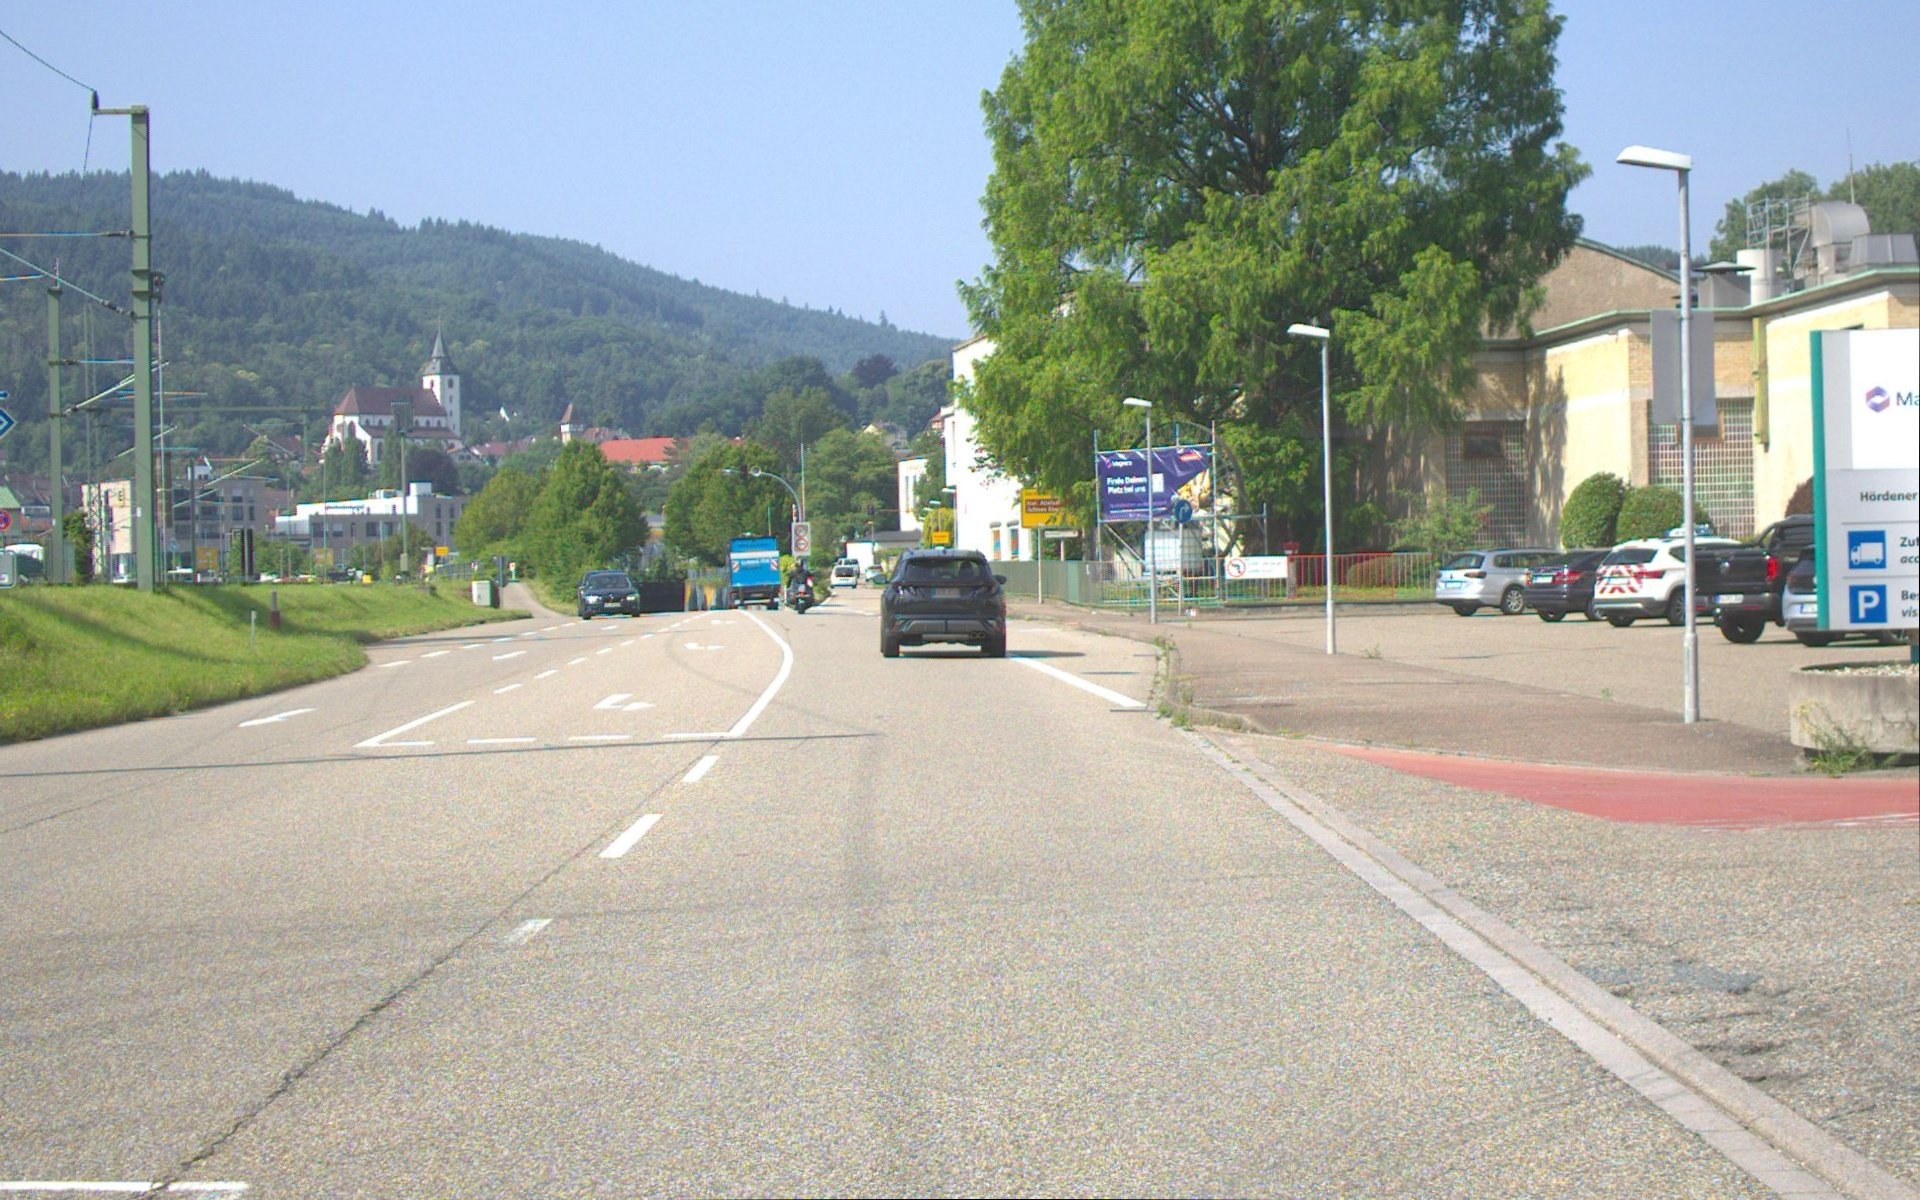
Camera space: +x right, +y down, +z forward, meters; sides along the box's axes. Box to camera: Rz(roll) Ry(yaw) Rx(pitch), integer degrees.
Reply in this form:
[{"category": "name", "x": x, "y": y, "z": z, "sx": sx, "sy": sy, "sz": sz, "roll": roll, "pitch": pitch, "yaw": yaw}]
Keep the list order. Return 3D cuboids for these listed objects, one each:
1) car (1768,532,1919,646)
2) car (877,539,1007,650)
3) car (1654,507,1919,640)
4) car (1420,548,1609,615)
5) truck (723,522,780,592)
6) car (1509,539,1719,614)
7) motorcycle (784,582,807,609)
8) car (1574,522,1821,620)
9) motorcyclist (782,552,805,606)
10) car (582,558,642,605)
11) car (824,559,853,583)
[{"category": "car", "x": 13.268, "y": -0.190, "z": 47.236, "sx": 3.987, "sy": 1.499, "sz": 1.886, "roll": -2, "pitch": 1, "yaw": -30}, {"category": "car", "x": -0.271, "y": -0.105, "z": 53.378, "sx": 1.919, "sy": 1.634, "sz": 4.000, "roll": -1, "pitch": 1, "yaw": 0}, {"category": "car", "x": 12.802, "y": -0.420, "z": 50.488, "sx": 5.020, "sy": 1.826, "sz": 1.983, "roll": -2, "pitch": 1, "yaw": -30}, {"category": "car", "x": 12.235, "y": -0.413, "z": 75.805, "sx": 3.987, "sy": 1.396, "sz": 1.664, "roll": -1, "pitch": 1, "yaw": -32}, {"category": "truck", "x": -9.048, "y": -1.868, "z": 148.974, "sx": 2.312, "sy": 2.960, "sz": 5.967, "roll": -1, "pitch": 1, "yaw": -4}, {"category": "car", "x": 12.883, "y": -0.475, "z": 67.626, "sx": 3.987, "sy": 1.396, "sz": 1.664, "roll": -1, "pitch": 1, "yaw": -32}, {"category": "motorcycle", "x": -4.673, "y": -0.125, "z": 97.626, "sx": 0.606, "sy": 0.751, "sz": 1.415, "roll": -1, "pitch": 1, "yaw": -2}, {"category": "car", "x": 13.277, "y": -0.533, "z": 61.822, "sx": 4.160, "sy": 1.666, "sz": 1.870, "roll": -1, "pitch": 1, "yaw": -31}, {"category": "motorcyclist", "x": -4.716, "y": -0.595, "z": 97.626, "sx": 0.606, "sy": 1.515, "sz": 0.863, "roll": -1, "pitch": 0, "yaw": -2}, {"category": "car", "x": -10.895, "y": -0.590, "z": 107.794, "sx": 1.755, "sy": 1.424, "sz": 4.001, "roll": -1, "pitch": 1, "yaw": -4}, {"category": "car", "x": -7.783, "y": -1.847, "z": 220.683, "sx": 1.767, "sy": 1.481, "sz": 4.000, "roll": 0, "pitch": 0, "yaw": -1}]
